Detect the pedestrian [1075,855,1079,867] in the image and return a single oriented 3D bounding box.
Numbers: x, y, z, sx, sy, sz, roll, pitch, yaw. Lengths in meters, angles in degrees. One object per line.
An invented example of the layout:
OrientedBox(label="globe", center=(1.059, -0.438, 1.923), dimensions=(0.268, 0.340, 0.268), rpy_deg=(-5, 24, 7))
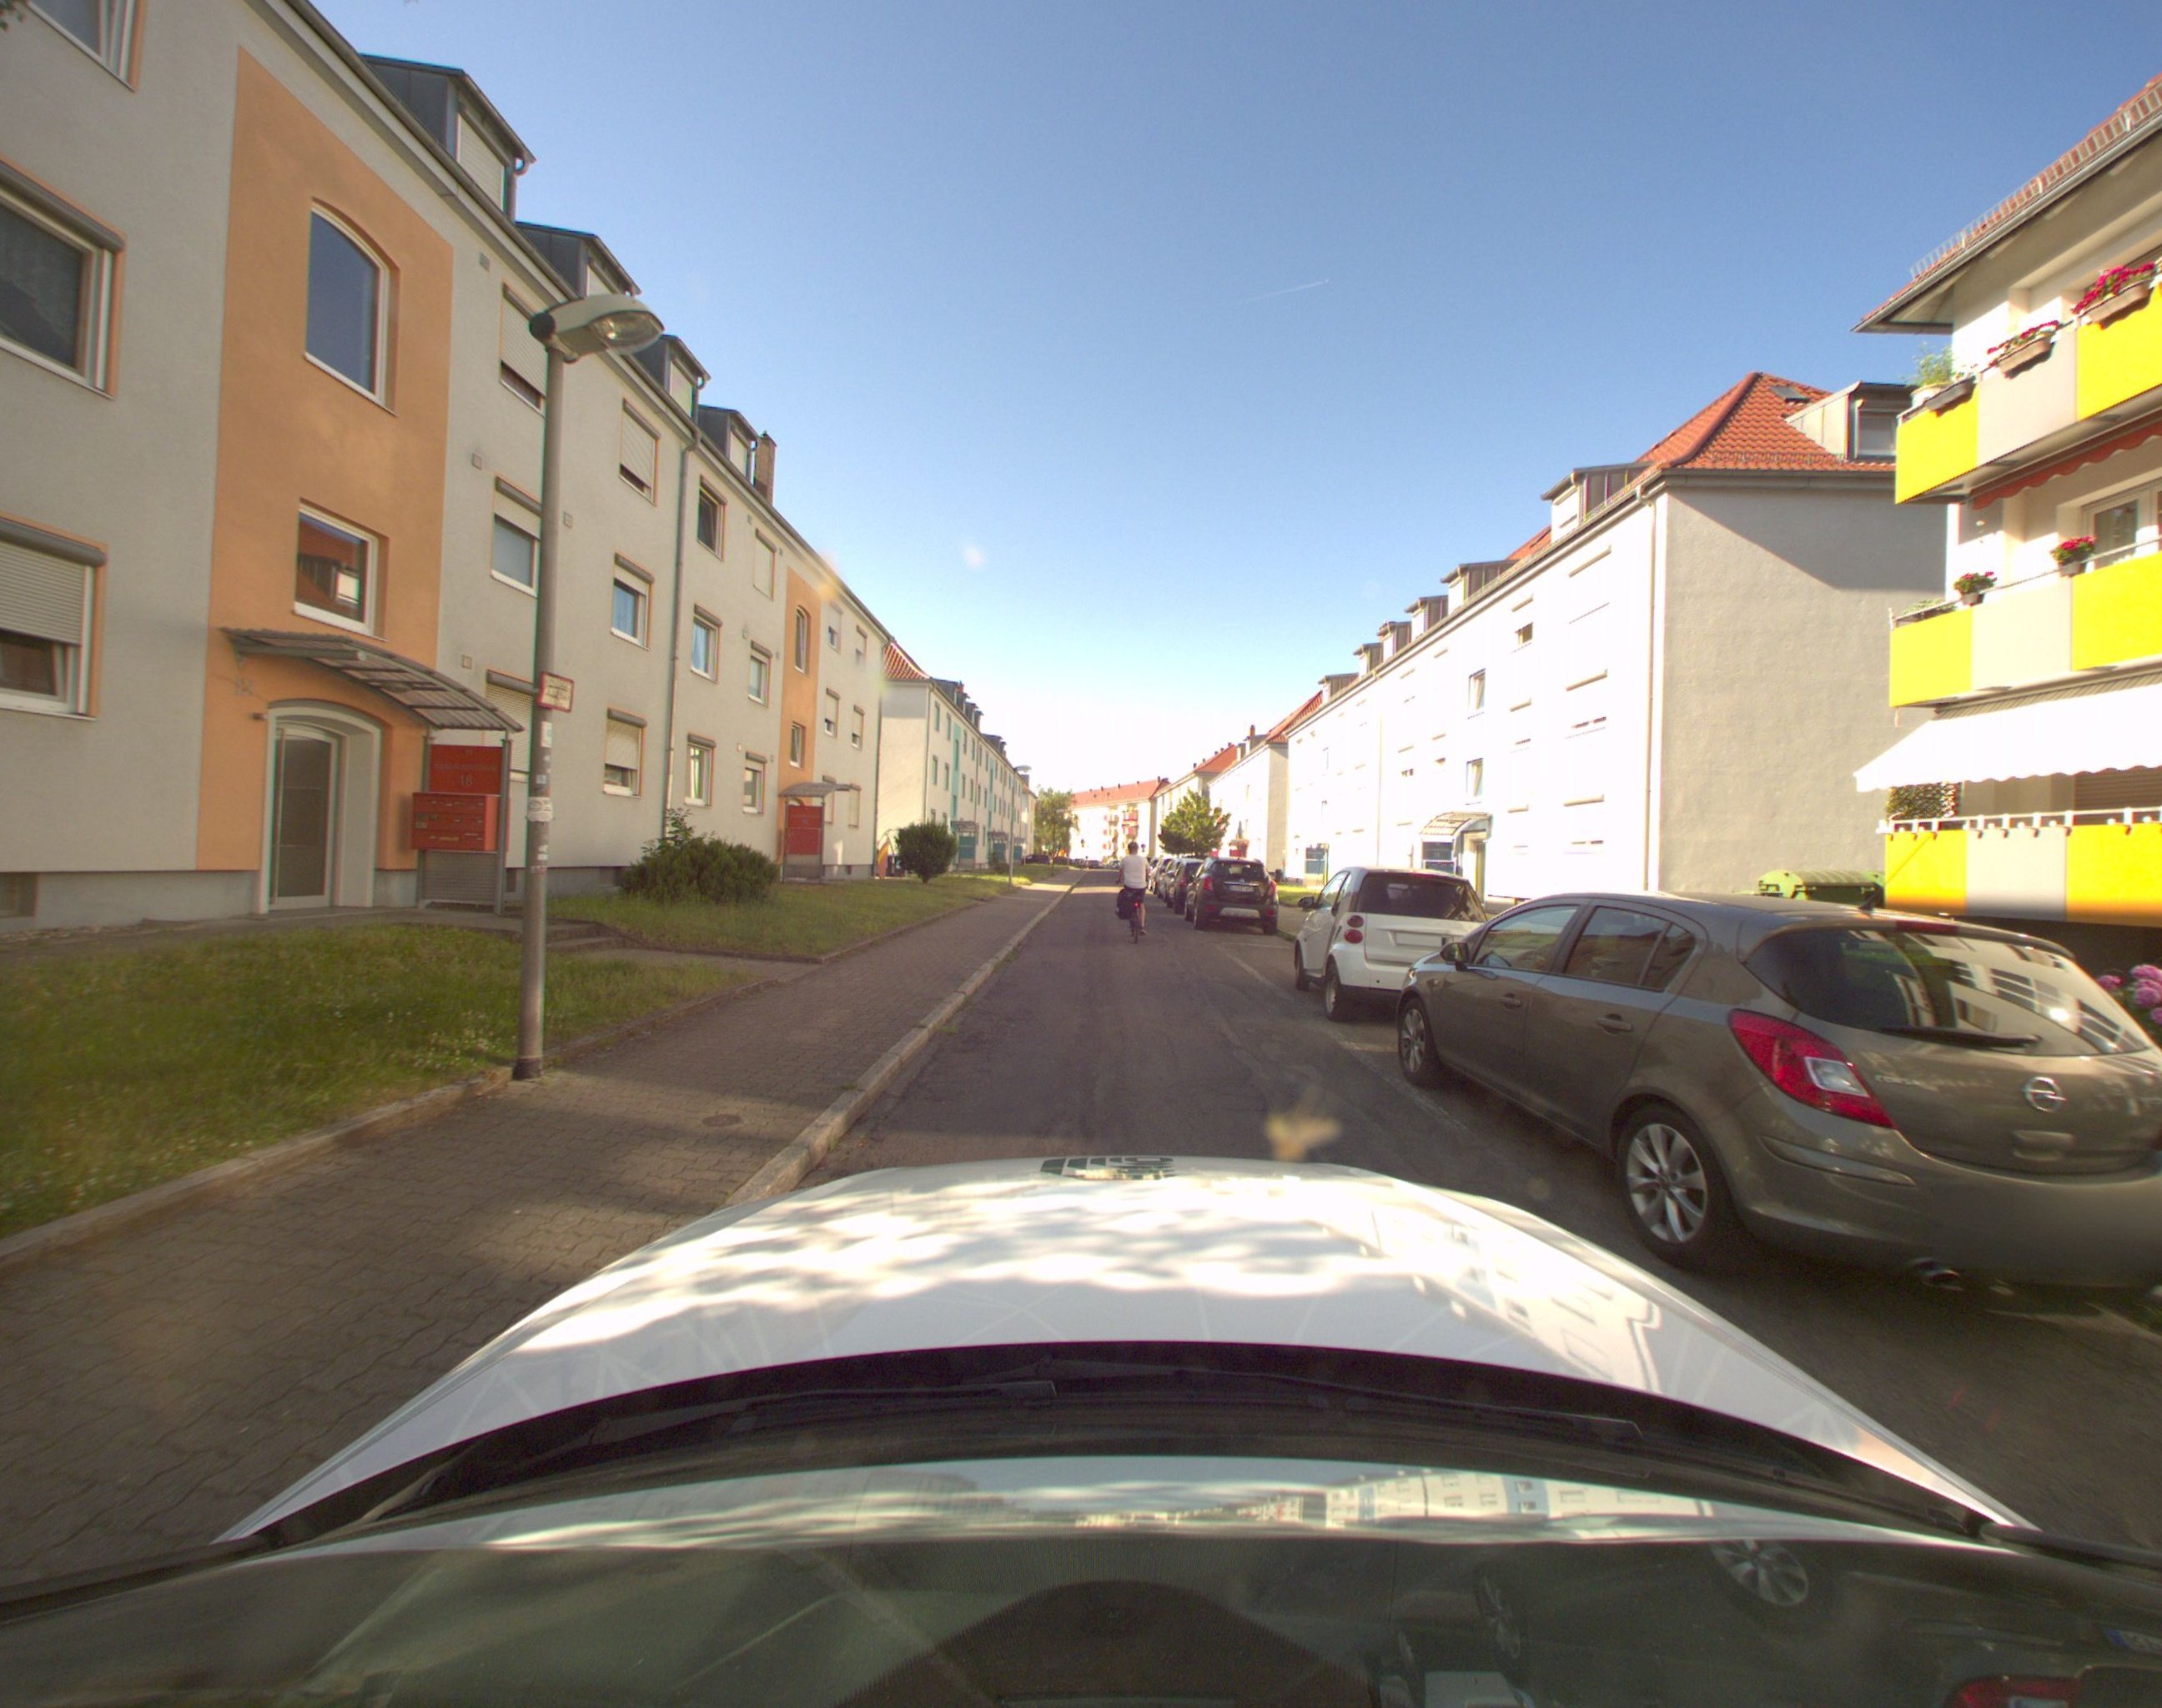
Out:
OrientedBox(label="pedestrian", center=(-0.572, 0.969, 112.164), dimensions=(0.433, 1.574, 0.543), rpy_deg=(0, 0, 1))

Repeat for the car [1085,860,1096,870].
OrientedBox(label="car", center=(1.374, 1.628, 120.420), dimensions=(1.466, 1.335, 3.138), rpy_deg=(-2, 0, -3))

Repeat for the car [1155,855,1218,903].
OrientedBox(label="car", center=(3.791, 0.850, 29.917), dimensions=(1.685, 1.575, 4.435), rpy_deg=(3, 0, 0))

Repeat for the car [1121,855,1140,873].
OrientedBox(label="car", center=(5.011, 0.986, 82.938), dimensions=(1.669, 1.739, 3.941), rpy_deg=(2, 0, -1))

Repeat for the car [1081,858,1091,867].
OrientedBox(label="car", center=(0.773, 1.378, 127.101), dimensions=(1.466, 1.335, 3.138), rpy_deg=(-2, 0, -2))

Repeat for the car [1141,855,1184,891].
OrientedBox(label="car", center=(4.069, 0.905, 41.176), dimensions=(1.706, 1.595, 4.398), rpy_deg=(4, 0, 1))

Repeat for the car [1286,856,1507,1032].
OrientedBox(label="car", center=(3.292, 0.836, 9.036), dimensions=(1.473, 1.529, 2.945), rpy_deg=(3, 0, 5))

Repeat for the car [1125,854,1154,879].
OrientedBox(label="car", center=(4.213, 0.907, 59.427), dimensions=(1.695, 1.671, 4.379), rpy_deg=(3, 0, 0))

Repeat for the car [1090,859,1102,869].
OrientedBox(label="car", center=(2.164, 1.364, 116.057), dimensions=(1.466, 1.335, 3.137), rpy_deg=(-2, 0, -3))

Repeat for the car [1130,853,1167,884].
OrientedBox(label="car", center=(4.011, 0.837, 48.843), dimensions=(1.855, 1.668, 4.128), rpy_deg=(3, 0, 1))

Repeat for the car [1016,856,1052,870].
OrientedBox(label="car", center=(-5.643, 1.086, 97.401), dimensions=(4.221, 1.638, 1.581), rpy_deg=(1, 0, -3))

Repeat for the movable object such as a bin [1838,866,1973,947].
OrientedBox(label="movable object such as a bin", center=(14.888, 0.942, 14.750), dimensions=(1.338, 1.412, 1.055), rpy_deg=(0, -2, 2))

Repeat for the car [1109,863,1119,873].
OrientedBox(label="car", center=(5.405, 2.237, 132.469), dimensions=(1.377, 1.497, 3.076), rpy_deg=(2, 0, -1))

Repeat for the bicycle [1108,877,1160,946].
OrientedBox(label="bicycle", center=(0.947, 1.023, 15.096), dimensions=(0.806, 1.128, 2.101), rpy_deg=(1, 0, -1))

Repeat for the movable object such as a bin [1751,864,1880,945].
OrientedBox(label="movable object such as a bin", center=(13.347, 0.905, 14.846), dimensions=(1.323, 1.407, 1.106), rpy_deg=(0, -2, 2))

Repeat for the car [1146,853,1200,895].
OrientedBox(label="car", center=(3.989, 0.837, 35.969), dimensions=(1.745, 1.617, 4.450), rpy_deg=(4, 0, -1))

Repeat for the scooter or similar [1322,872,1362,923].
OrientedBox(label="scooter or similar", center=(6.353, 1.040, 19.855), dimensions=(0.482, 1.149, 1.590), rpy_deg=(-2, 0, 2))

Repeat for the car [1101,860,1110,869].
OrientedBox(label="car", center=(4.302, 1.938, 145.139), dimensions=(1.465, 1.516, 3.076), rpy_deg=(2, 0, -1))

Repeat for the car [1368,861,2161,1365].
OrientedBox(label="car", center=(3.167, 0.849, 4.560), dimensions=(1.688, 1.491, 3.984), rpy_deg=(3, 0, 0))

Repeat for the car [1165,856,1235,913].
OrientedBox(label="car", center=(3.473, 0.843, 24.313), dimensions=(1.635, 1.498, 4.159), rpy_deg=(1, 0, 2))

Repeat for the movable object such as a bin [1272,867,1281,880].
OrientedBox(label="movable object such as a bin", center=(13.626, 1.361, 56.776), dimensions=(0.521, 0.886, 0.633), rpy_deg=(1, 0, 2))

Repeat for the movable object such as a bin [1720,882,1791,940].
OrientedBox(label="movable object such as a bin", center=(12.356, 1.040, 14.940), dimensions=(0.640, 1.035, 0.757), rpy_deg=(0, -2, 2))

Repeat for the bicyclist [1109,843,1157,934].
OrientedBox(label="bicyclist", center=(0.953, 0.625, 15.118), dimensions=(0.806, 1.643, 0.898), rpy_deg=(1, 0, -1))

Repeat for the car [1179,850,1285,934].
OrientedBox(label="car", center=(3.412, 0.795, 19.215), dimensions=(1.776, 1.648, 4.471), rpy_deg=(3, 0, 2))
